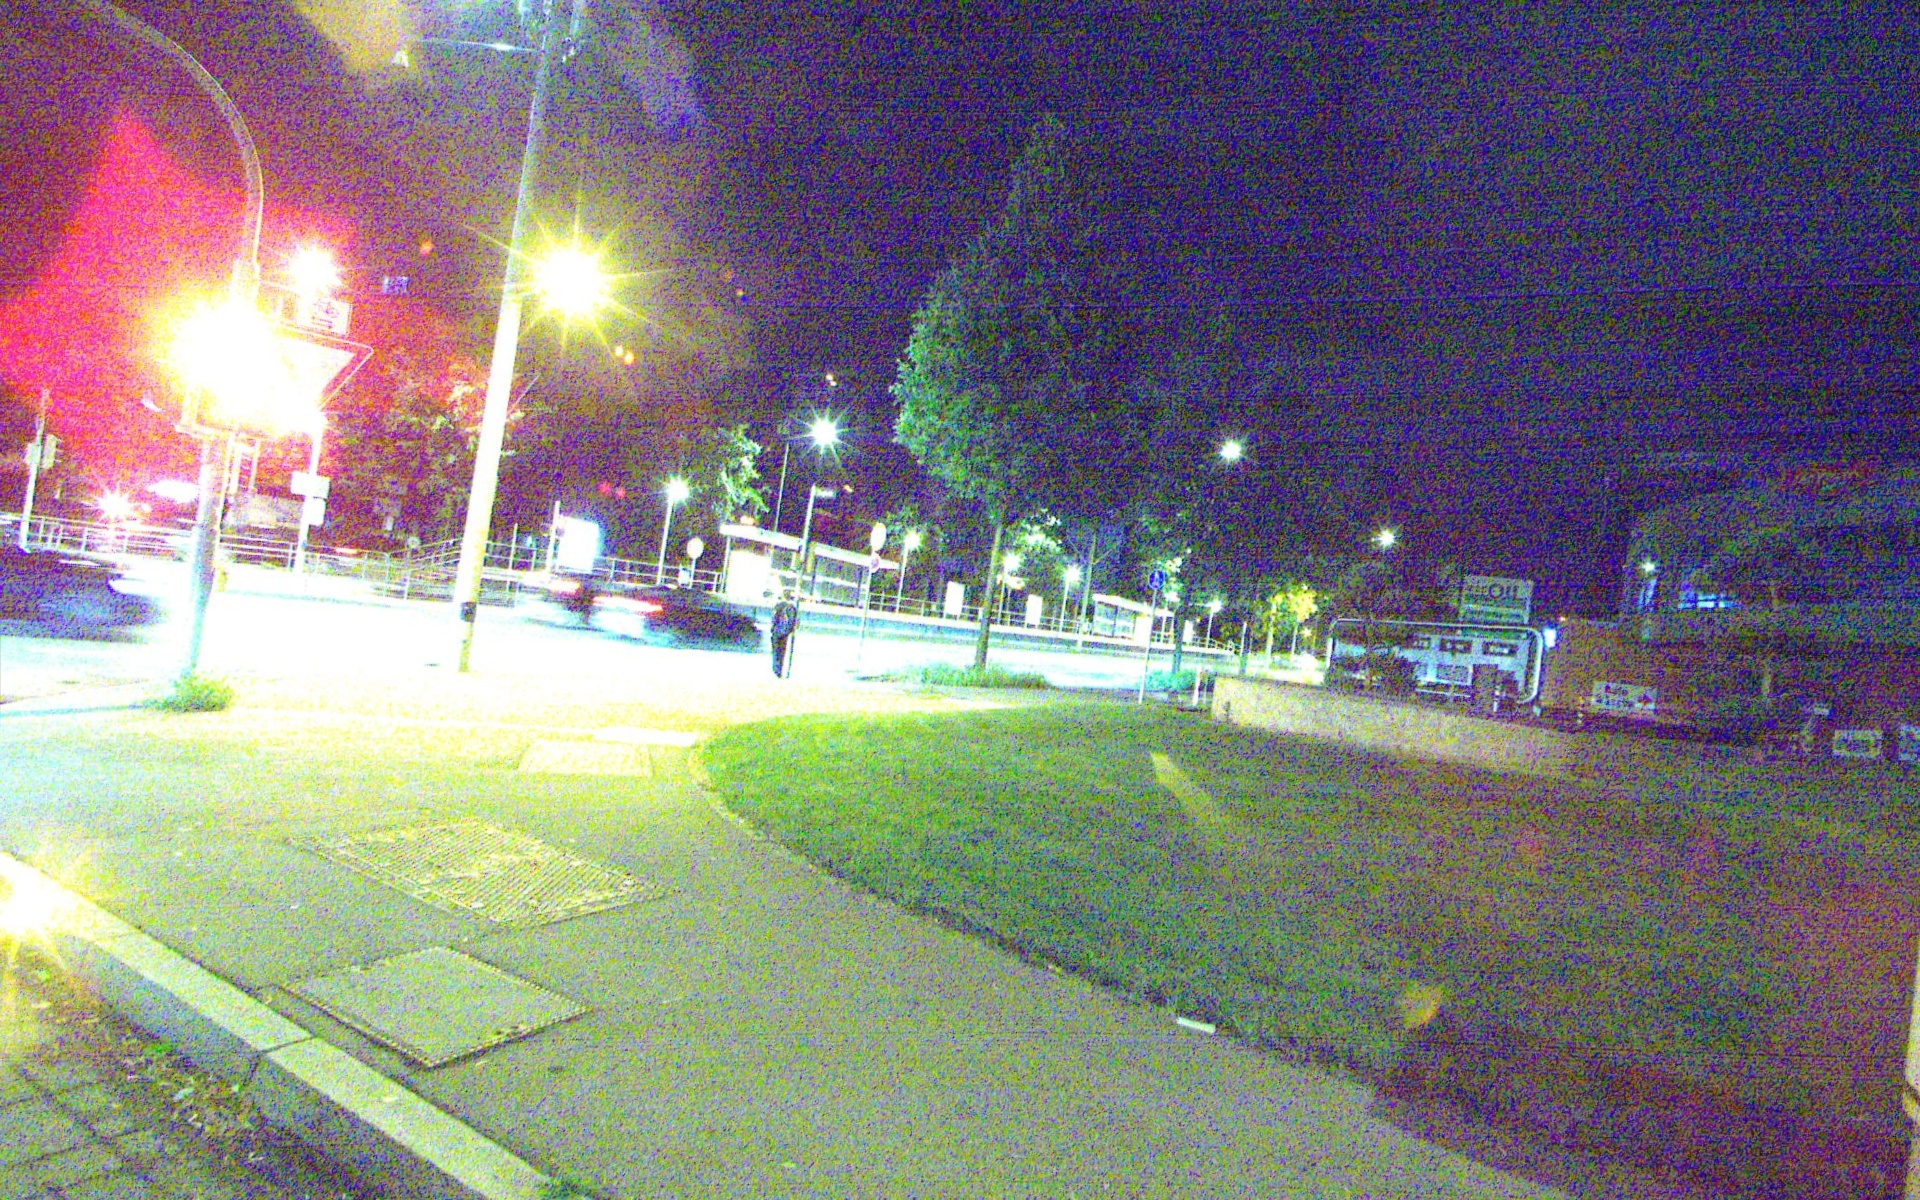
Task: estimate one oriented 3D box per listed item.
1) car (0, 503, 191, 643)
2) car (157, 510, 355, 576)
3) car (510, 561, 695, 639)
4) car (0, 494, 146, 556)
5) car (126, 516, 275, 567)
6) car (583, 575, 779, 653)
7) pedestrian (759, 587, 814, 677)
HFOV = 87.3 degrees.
[{"bbox_3d":[-12.151,-0.491,11.538,1.717,1.491,4.924,8,-1,35],"label":"car"},{"bbox_3d":[-22.961,-1.816,33.021,1.822,1.437,4.943,6,-1,35],"label":"car"},{"bbox_3d":[-9.382,0.039,26.681,1.719,1.437,4.248,9,0,39],"label":"car"},{"bbox_3d":[-28.305,-2.388,30.860,1.822,1.437,4.821,6,-1,35],"label":"car"},{"bbox_3d":[-27.724,-2.116,36.822,1.515,1.301,4.025,6,-1,35],"label":"car"},{"bbox_3d":[-6.874,0.397,25.278,1.717,1.438,4.572,10,2,35],"label":"car"},{"bbox_3d":[-3.382,0.607,19.559,0.867,1.677,0.835,2,1,-18],"label":"pedestrian"}]
